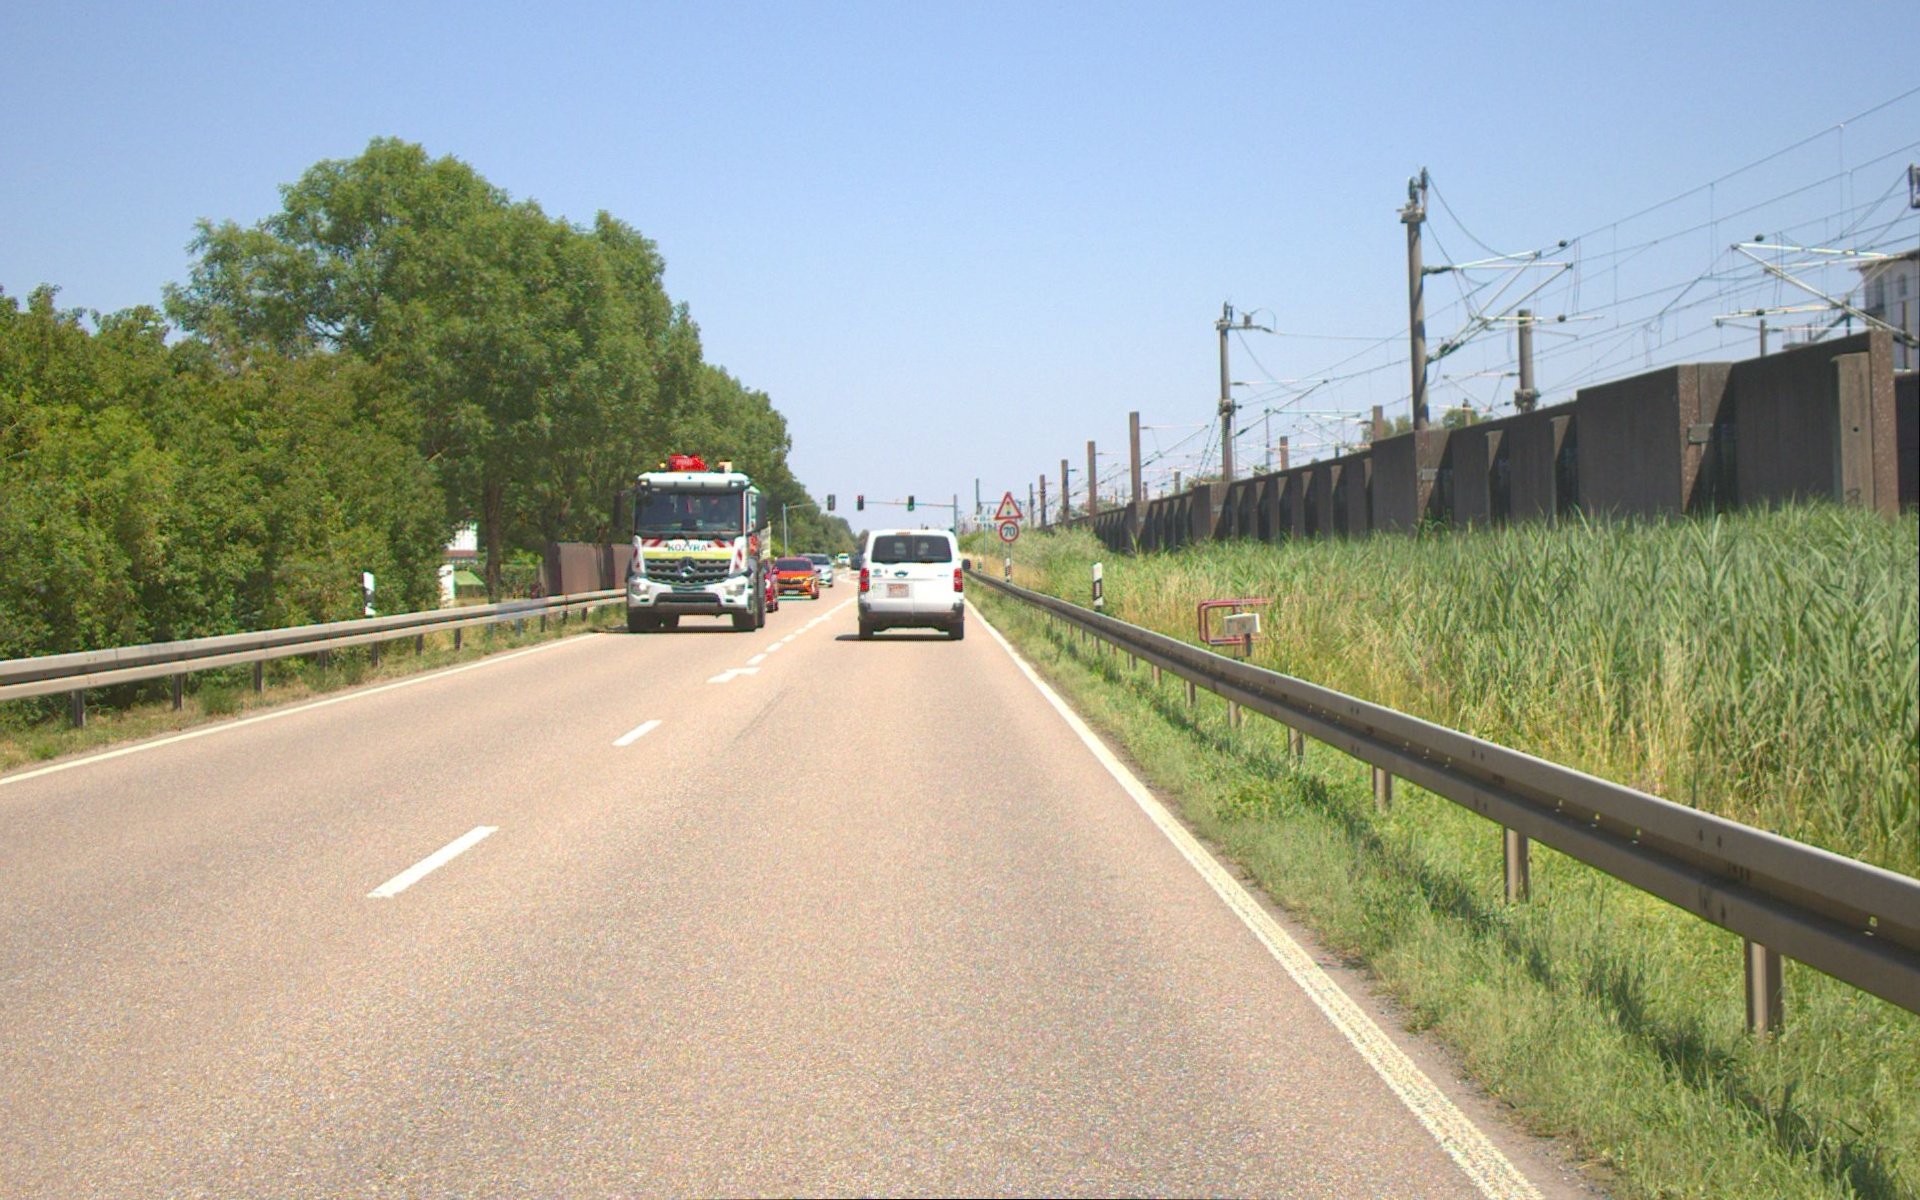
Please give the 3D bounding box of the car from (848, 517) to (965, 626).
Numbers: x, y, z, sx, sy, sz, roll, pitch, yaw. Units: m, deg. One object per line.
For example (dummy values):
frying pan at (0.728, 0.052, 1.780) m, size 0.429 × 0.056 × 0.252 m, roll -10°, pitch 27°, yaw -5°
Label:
car at (-0.940, -0.525, 60.949) m, size 1.993 × 1.843 × 4.000 m, roll 1°, pitch 1°, yaw -1°

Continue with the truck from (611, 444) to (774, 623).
truck at (-5.334, -1.347, 69.785) m, size 2.783 × 3.393 × 7.989 m, roll 1°, pitch 1°, yaw -1°

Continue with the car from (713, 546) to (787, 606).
car at (-5.525, -0.652, 90.852) m, size 1.653 × 1.546 × 4.000 m, roll 0°, pitch 1°, yaw 0°

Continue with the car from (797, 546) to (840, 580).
car at (-6.567, -1.724, 159.979) m, size 1.789 × 1.520 × 4.390 m, roll 0°, pitch 1°, yaw 0°

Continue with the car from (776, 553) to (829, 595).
car at (-5.423, -0.912, 118.246) m, size 1.789 × 1.417 × 4.001 m, roll 0°, pitch 1°, yaw -3°
